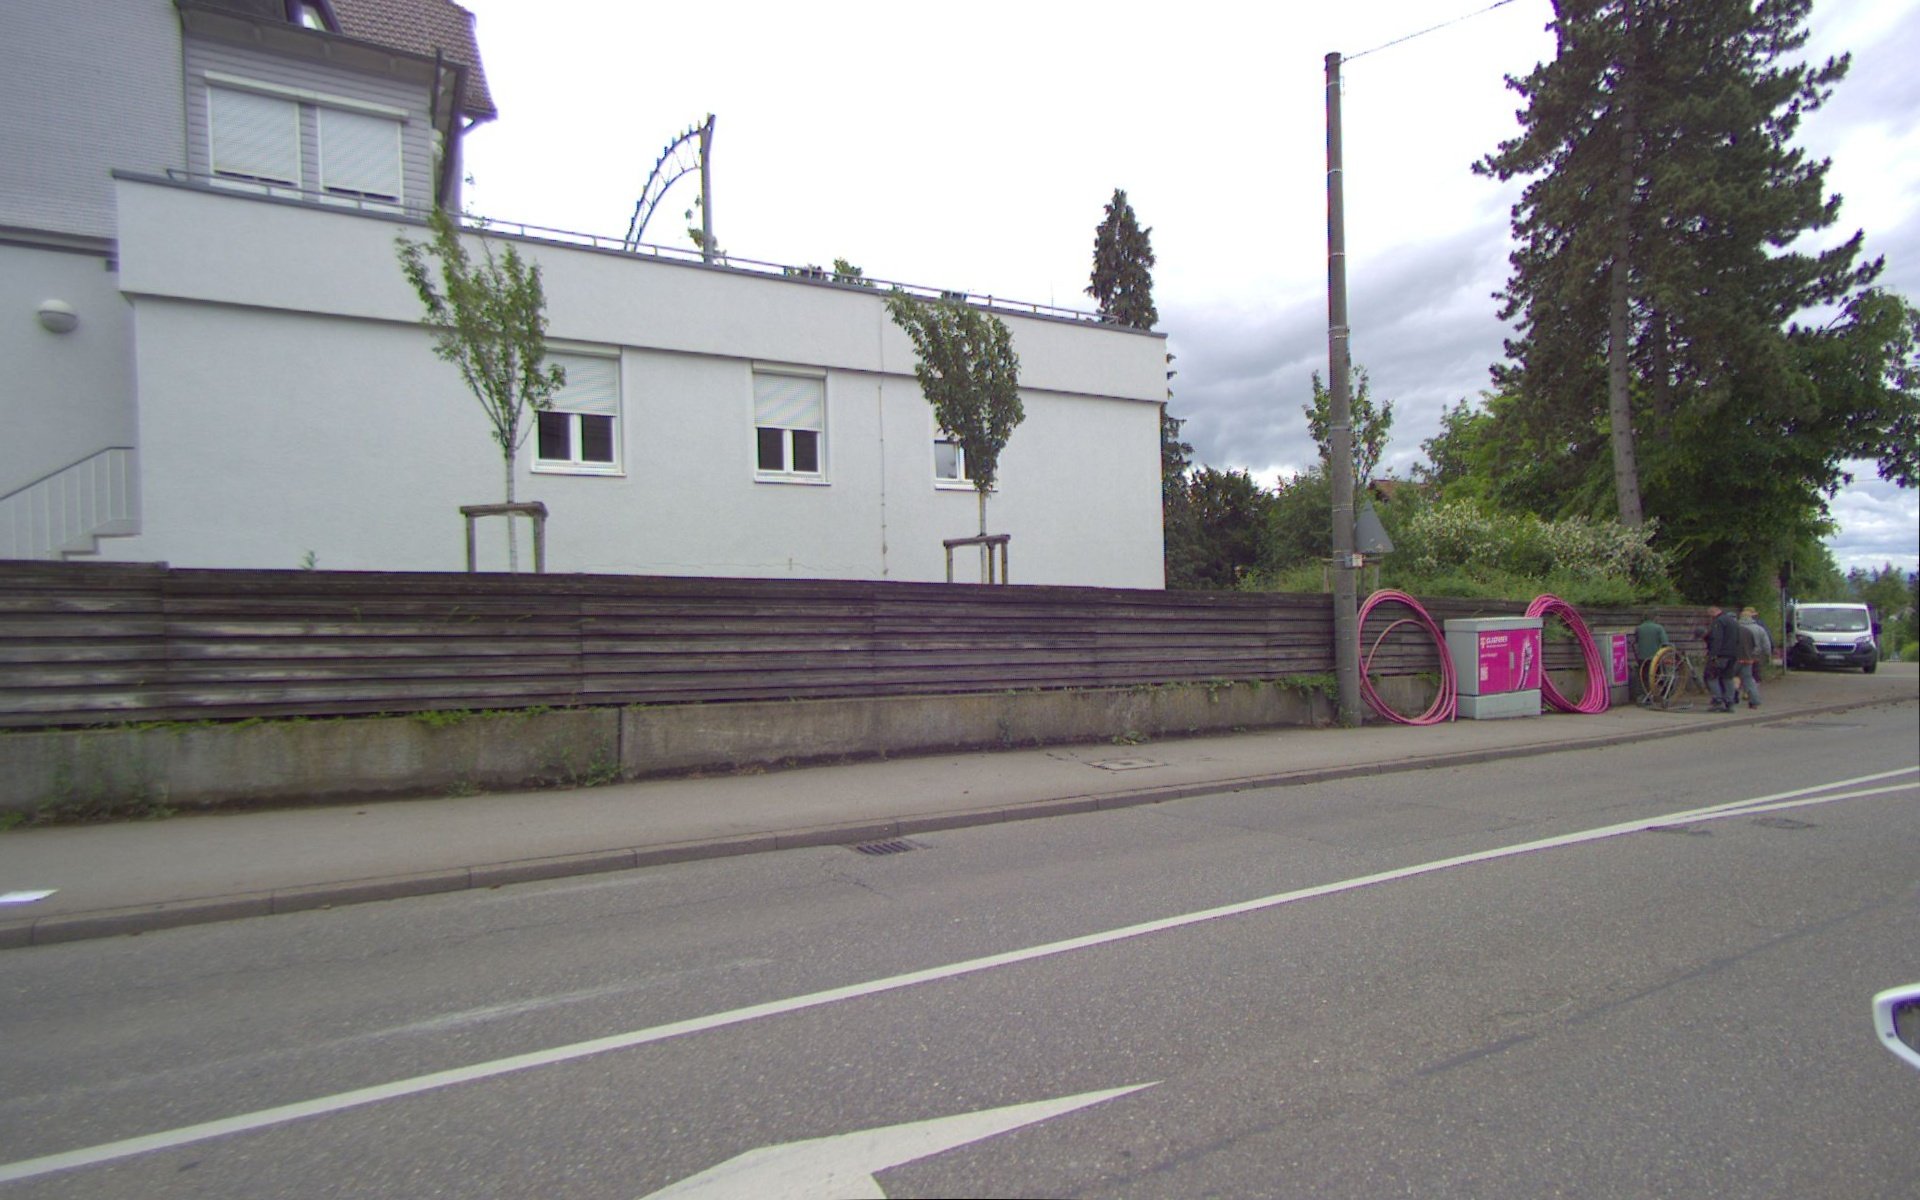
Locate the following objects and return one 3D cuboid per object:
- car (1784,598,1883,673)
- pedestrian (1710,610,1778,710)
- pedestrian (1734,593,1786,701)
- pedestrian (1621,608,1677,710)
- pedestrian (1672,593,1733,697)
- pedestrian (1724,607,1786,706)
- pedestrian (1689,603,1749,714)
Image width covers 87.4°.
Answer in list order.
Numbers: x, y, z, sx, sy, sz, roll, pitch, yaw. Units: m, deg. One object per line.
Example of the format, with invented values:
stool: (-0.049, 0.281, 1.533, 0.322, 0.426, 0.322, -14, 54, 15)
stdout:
car: (28.701, 1.135, 33.184, 2.253, 2.257, 6.441, -1, -1, 40)
pedestrian: (14.087, 1.066, 18.073, 0.737, 1.757, 0.696, 0, -1, 14)
pedestrian: (15.519, 0.893, 19.482, 0.699, 2.040, 1.017, 0, -1, 44)
pedestrian: (12.538, 1.046, 18.270, 0.805, 1.787, 0.864, -1, -1, 37)
pedestrian: (14.828, 0.887, 20.071, 0.802, 2.040, 0.702, 1, -1, -27)
pedestrian: (14.713, 1.027, 18.607, 0.858, 1.777, 0.691, 0, -1, 36)
pedestrian: (12.989, 0.983, 17.218, 0.739, 1.861, 0.613, 0, -1, 31)
